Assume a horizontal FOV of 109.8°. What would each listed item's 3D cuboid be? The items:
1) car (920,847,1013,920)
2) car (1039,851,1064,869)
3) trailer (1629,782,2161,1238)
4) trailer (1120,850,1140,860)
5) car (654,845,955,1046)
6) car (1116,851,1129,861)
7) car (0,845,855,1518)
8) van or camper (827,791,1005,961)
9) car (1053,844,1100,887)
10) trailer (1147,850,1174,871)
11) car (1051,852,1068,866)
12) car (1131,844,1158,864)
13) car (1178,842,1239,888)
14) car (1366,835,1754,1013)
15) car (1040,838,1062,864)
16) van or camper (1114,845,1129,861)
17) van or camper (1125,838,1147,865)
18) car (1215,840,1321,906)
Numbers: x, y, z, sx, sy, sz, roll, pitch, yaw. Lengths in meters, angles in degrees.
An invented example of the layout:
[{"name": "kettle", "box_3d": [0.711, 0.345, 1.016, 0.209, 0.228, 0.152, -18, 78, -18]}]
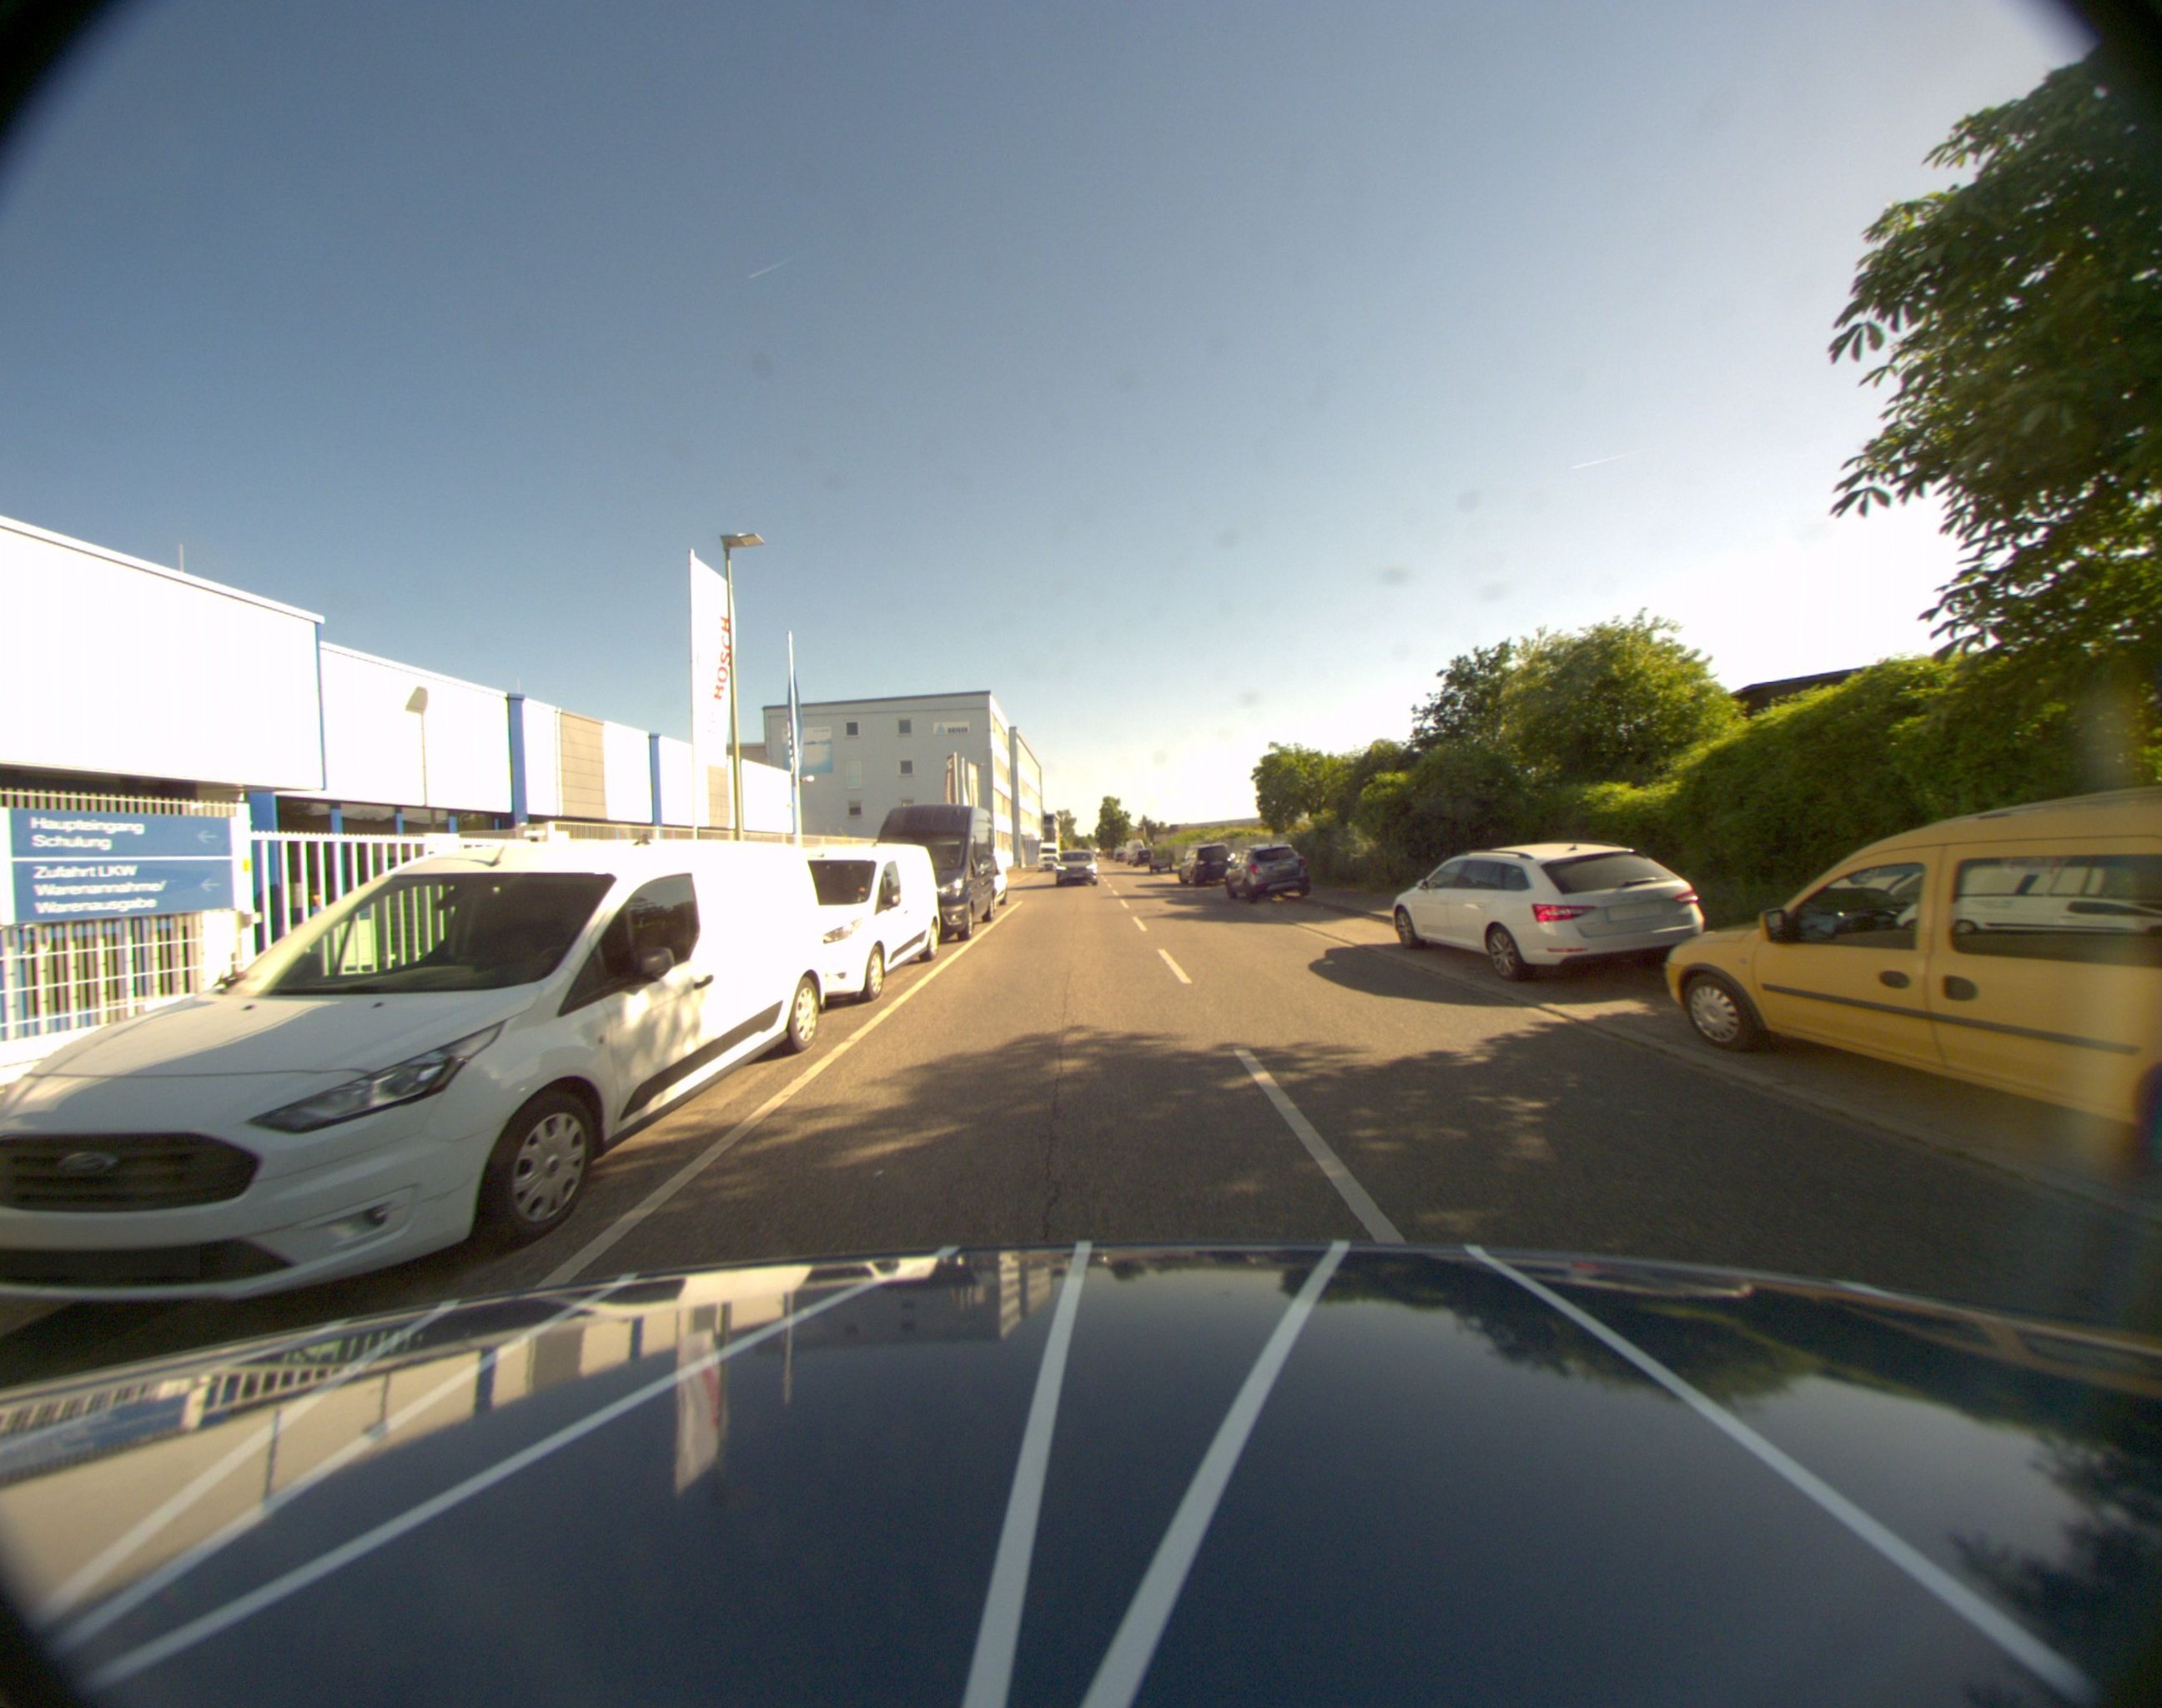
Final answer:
[{"name": "car", "box_3d": [-3.214, 0.750, 22.353, 1.890, 1.787, 5.103, -3, 1, 0]}, {"name": "car", "box_3d": [-2.560, 0.512, 66.696, 1.899, 1.397, 5.123, -3, 1, 0]}, {"name": "trailer", "box_3d": [5.563, 0.628, 4.134, 1.998, 1.930, 4.414, -1, 1, 1]}, {"name": "trailer", "box_3d": [6.739, 0.158, 105.420, 2.382, 1.073, 6.246, -6, -1, 0]}, {"name": "car", "box_3d": [-3.103, 0.864, 9.919, 1.890, 1.836, 5.103, -3, 1, 1]}, {"name": "car", "box_3d": [6.734, 0.358, 124.741, 1.804, 1.501, 5.002, -5, 0, 1]}, {"name": "car", "box_3d": [-3.181, 0.915, 4.677, 1.860, 1.820, 5.167, -3, 1, 1]}, {"name": "van or camper", "box_3d": [-3.081, 0.332, 15.903, 2.146, 2.743, 6.160, -3, 1, 1]}, {"name": "car", "box_3d": [-0.177, 0.497, 35.575, 1.998, 1.750, 5.015, -3, 0, 0]}, {"name": "trailer", "box_3d": [5.446, 0.415, 52.309, 1.480, 1.346, 3.078, -3, 1, 1]}, {"name": "car", "box_3d": [-2.681, 0.612, 96.399, 1.894, 1.551, 5.090, -2, 0, 0]}, {"name": "car", "box_3d": [6.101, 0.018, 73.526, 2.035, 1.684, 5.106, -6, 0, -1]}, {"name": "car", "box_3d": [5.543, 0.448, 33.604, 1.796, 1.720, 4.802, -5, 0, 0]}, {"name": "car", "box_3d": [5.700, 0.684, 10.060, 1.912, 1.584, 5.025, -6, 0, 1]}, {"name": "car", "box_3d": [-3.060, -0.233, 78.228, 1.999, 2.582, 6.051, 0, -1, 0]}, {"name": "van or camper", "box_3d": [7.232, -0.152, 135.562, 2.076, 2.534, 6.404, -6, 0, 1]}, {"name": "van or camper", "box_3d": [6.203, -0.294, 86.377, 1.971, 2.669, 5.948, -7, 0, 2]}, {"name": "car", "box_3d": [5.616, 0.521, 23.433, 1.913, 1.653, 4.462, -6, 0, -2]}]
